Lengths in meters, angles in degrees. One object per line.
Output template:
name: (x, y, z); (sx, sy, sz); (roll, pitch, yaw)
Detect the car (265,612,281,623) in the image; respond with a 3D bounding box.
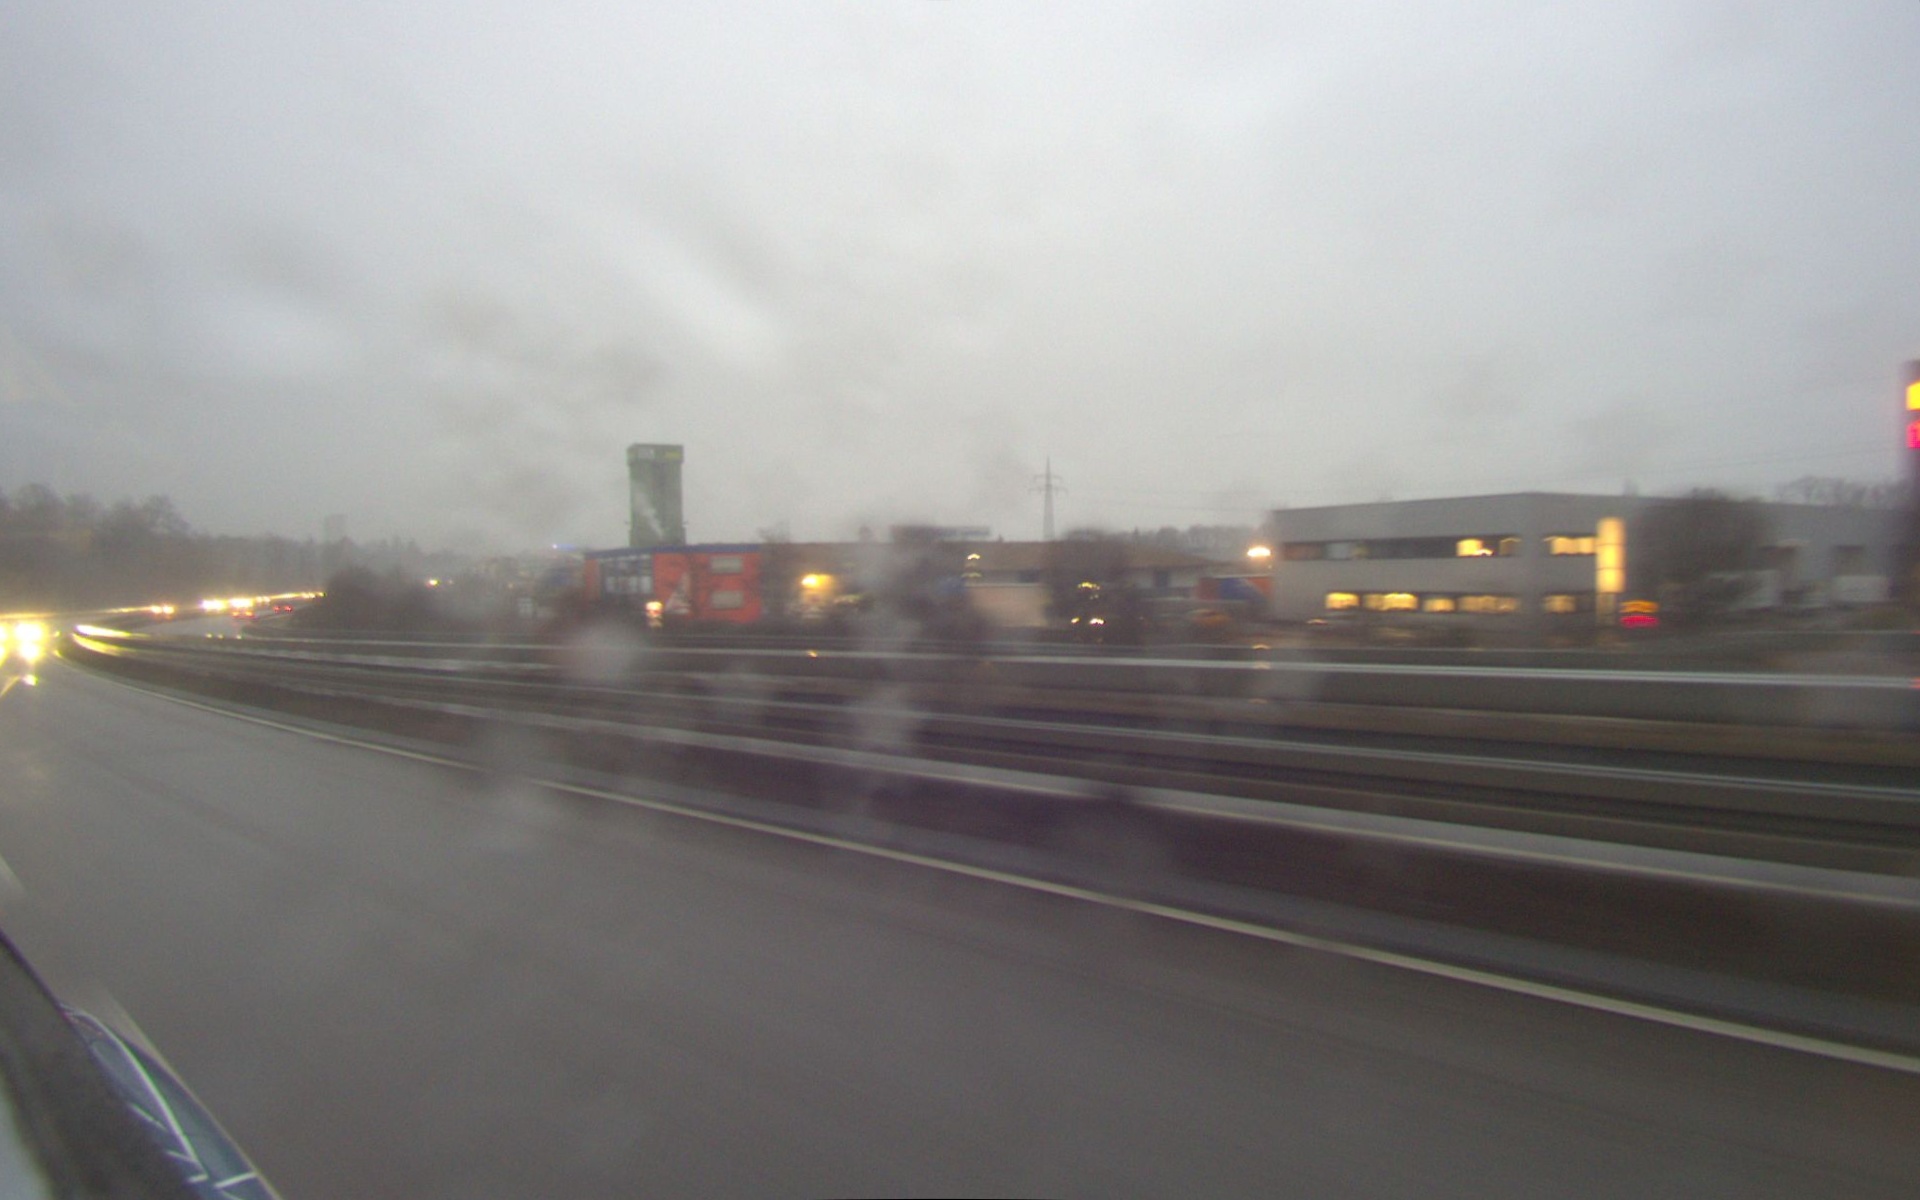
car: (-105.628, 2.660, 155.533); (1.967, 1.685, 4.440); (1, -1, -35)

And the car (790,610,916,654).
car: (-5.286, 1.544, 49.331); (6.478, 2.029, 1.976); (-1, -2, 36)

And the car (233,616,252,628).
car: (-85.889, 2.627, 121.214); (1.648, 1.431, 4.093); (1, -1, -32)

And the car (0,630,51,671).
car: (-53.689, 2.848, 57.550); (1.966, 2.028, 4.013); (-3, 2, -27)

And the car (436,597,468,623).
car: (-66.700, 1.323, 132.987); (3.147, 3.235, 9.972); (2, -1, -24)
